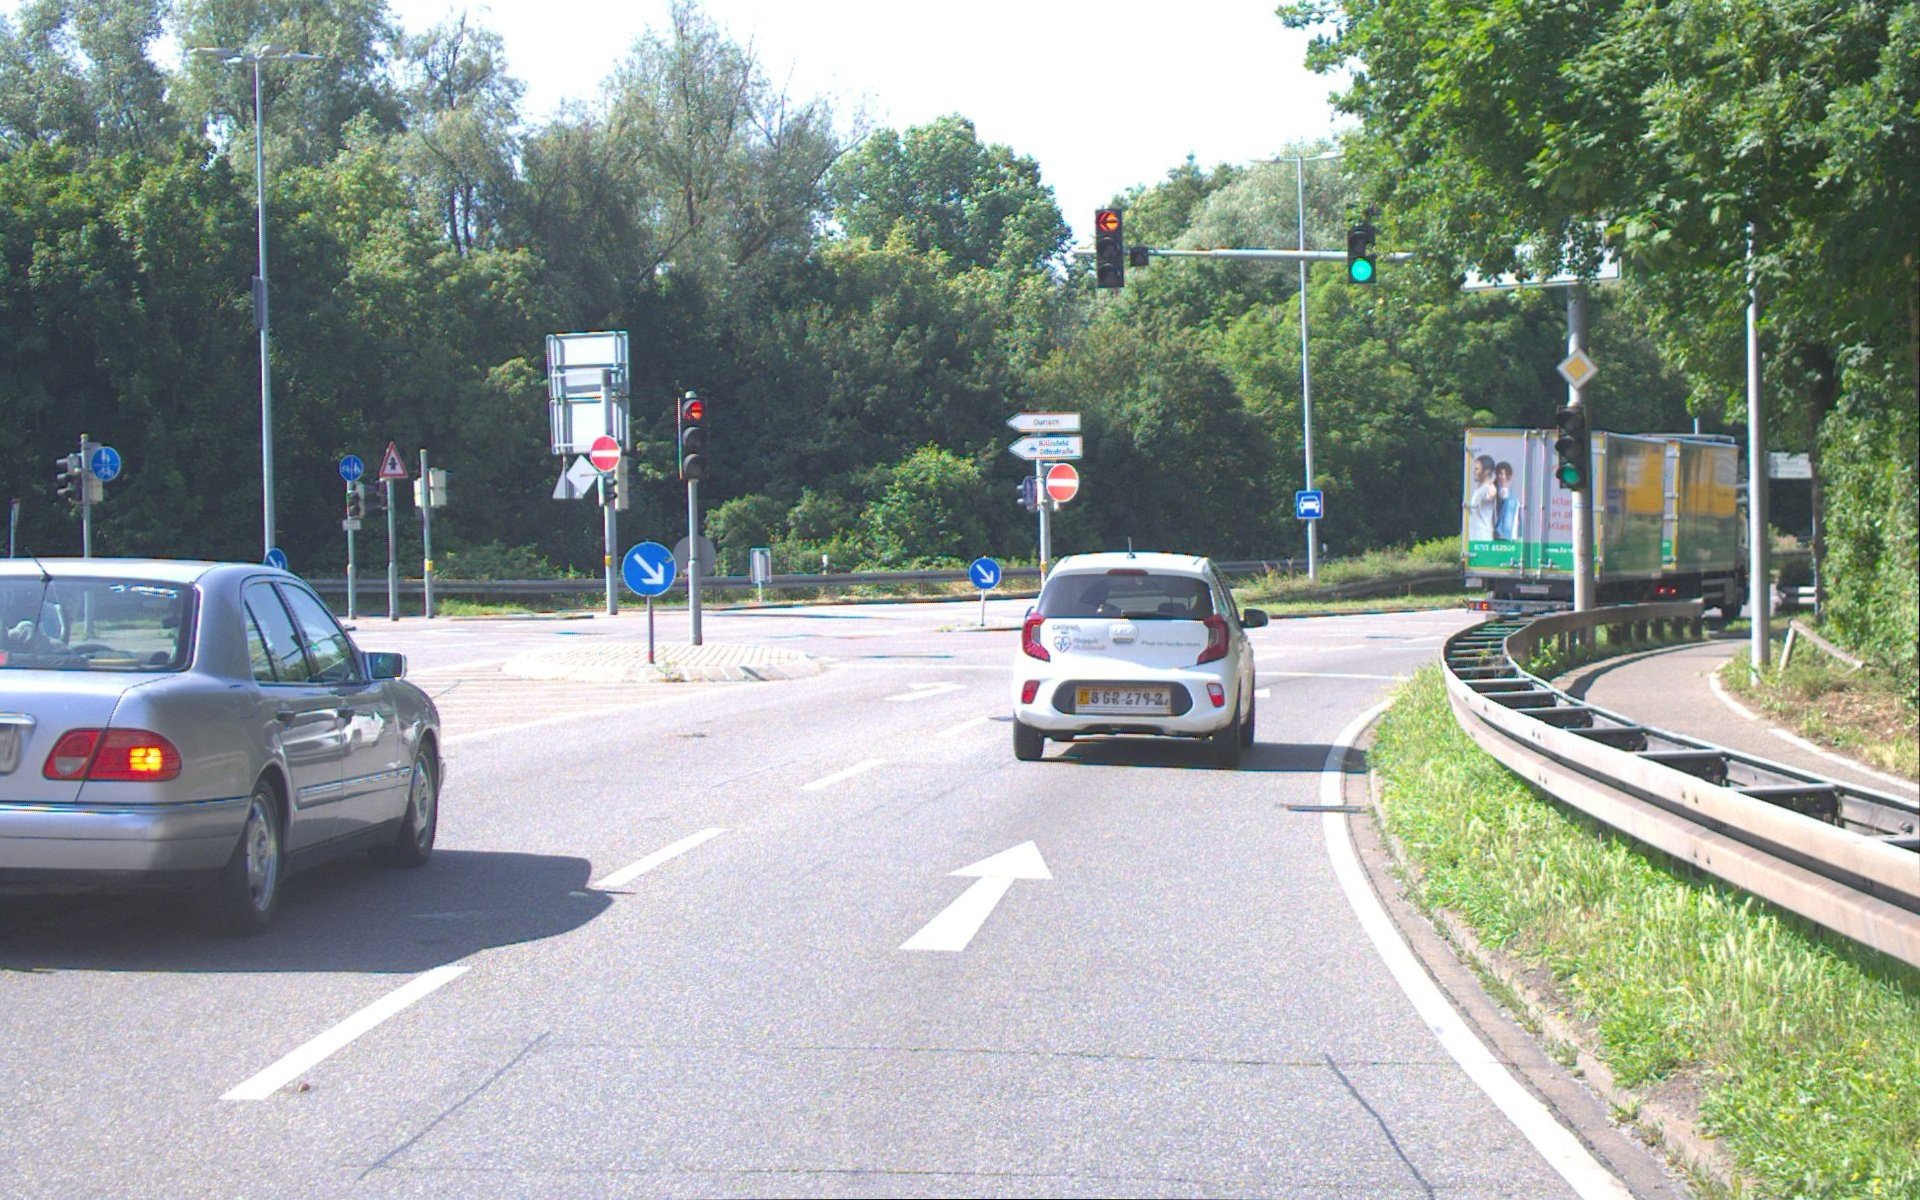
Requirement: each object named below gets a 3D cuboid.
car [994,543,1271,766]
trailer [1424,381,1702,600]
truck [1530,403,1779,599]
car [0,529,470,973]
[{"bbox_3d":[1.361,0.359,25.644,1.702,1.489,3.999,1,1,8],"label":"car"},{"bbox_3d":[11.360,-1.956,64.125,3.228,3.745,7.815,3,1,23],"label":"trailer"},{"bbox_3d":[14.571,-1.966,71.529,3.264,3.745,8.360,3,1,23],"label":"truck"},{"bbox_3d":[-3.440,0.460,14.062,1.939,1.481,4.900,1,1,3],"label":"car"}]
